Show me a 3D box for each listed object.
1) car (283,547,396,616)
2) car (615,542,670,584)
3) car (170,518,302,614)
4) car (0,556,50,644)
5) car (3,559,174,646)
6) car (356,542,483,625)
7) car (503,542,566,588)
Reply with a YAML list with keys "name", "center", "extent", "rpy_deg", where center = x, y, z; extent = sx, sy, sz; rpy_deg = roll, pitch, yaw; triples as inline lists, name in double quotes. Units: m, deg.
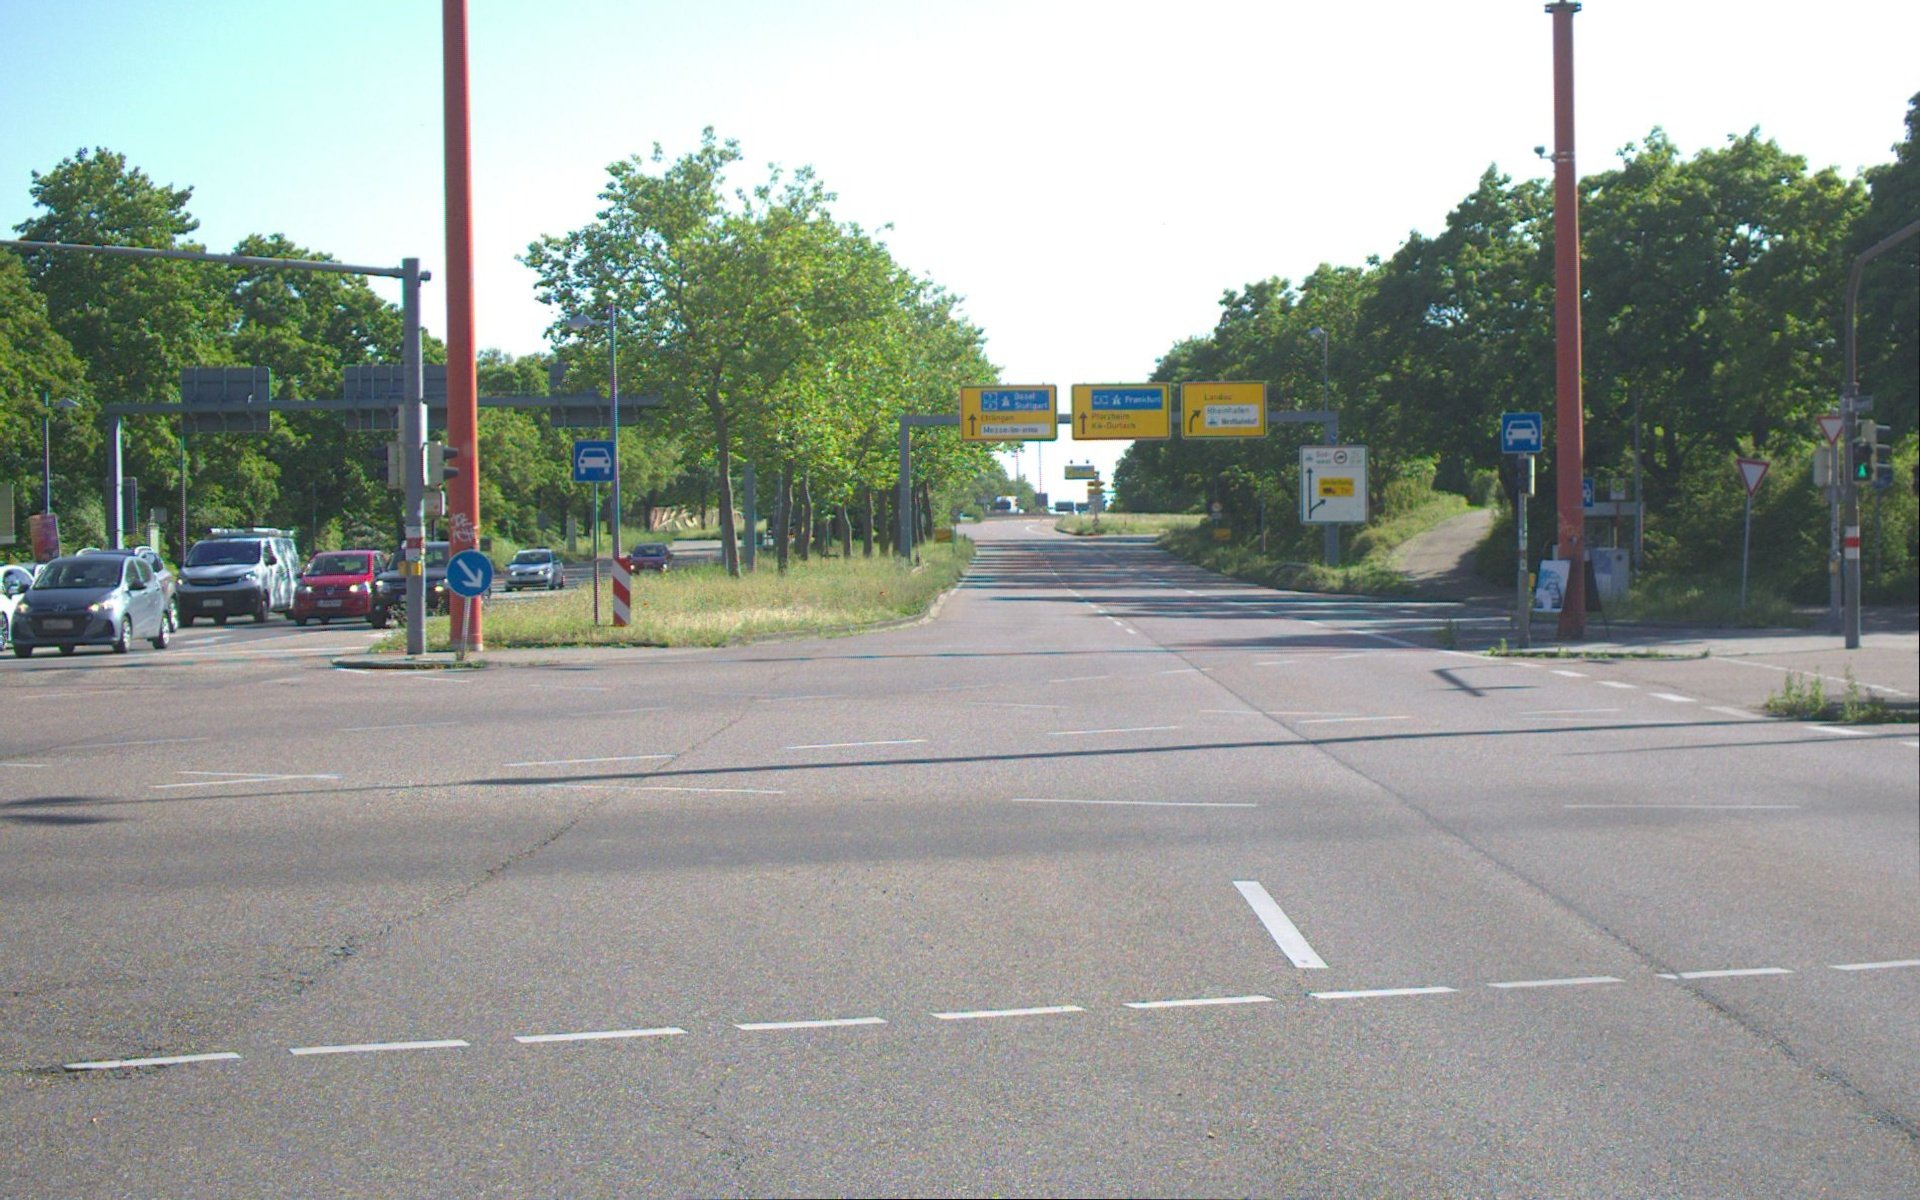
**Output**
- name: "car"
  center: [-12.692, -0.398, 70.463]
  extent: [1.739, 1.357, 3.613]
  rpy_deg: [-1, 1, -1]
- name: "car"
  center: [-12.419, -1.452, 134.614]
  extent: [1.819, 1.623, 4.000]
  rpy_deg: [-1, 1, -1]
- name: "car"
  center: [-15.833, -0.755, 75.448]
  extent: [1.893, 2.019, 5.224]
  rpy_deg: [0, 1, -1]
- name: "car"
  center: [-16.420, -0.016, 57.056]
  extent: [1.739, 1.406, 3.613]
  rpy_deg: [-1, 1, -1]
- name: "car"
  center: [-13.112, 0.016, 51.911]
  extent: [1.739, 1.239, 3.613]
  rpy_deg: [-1, 1, -1]
- name: "car"
  center: [-10.247, -0.338, 65.415]
  extent: [1.819, 1.503, 4.000]
  rpy_deg: [-1, 1, -1]
- name: "car"
  center: [-15.396, -1.269, 124.459]
  extent: [1.797, 1.634, 4.000]
  rpy_deg: [-1, 1, -1]
